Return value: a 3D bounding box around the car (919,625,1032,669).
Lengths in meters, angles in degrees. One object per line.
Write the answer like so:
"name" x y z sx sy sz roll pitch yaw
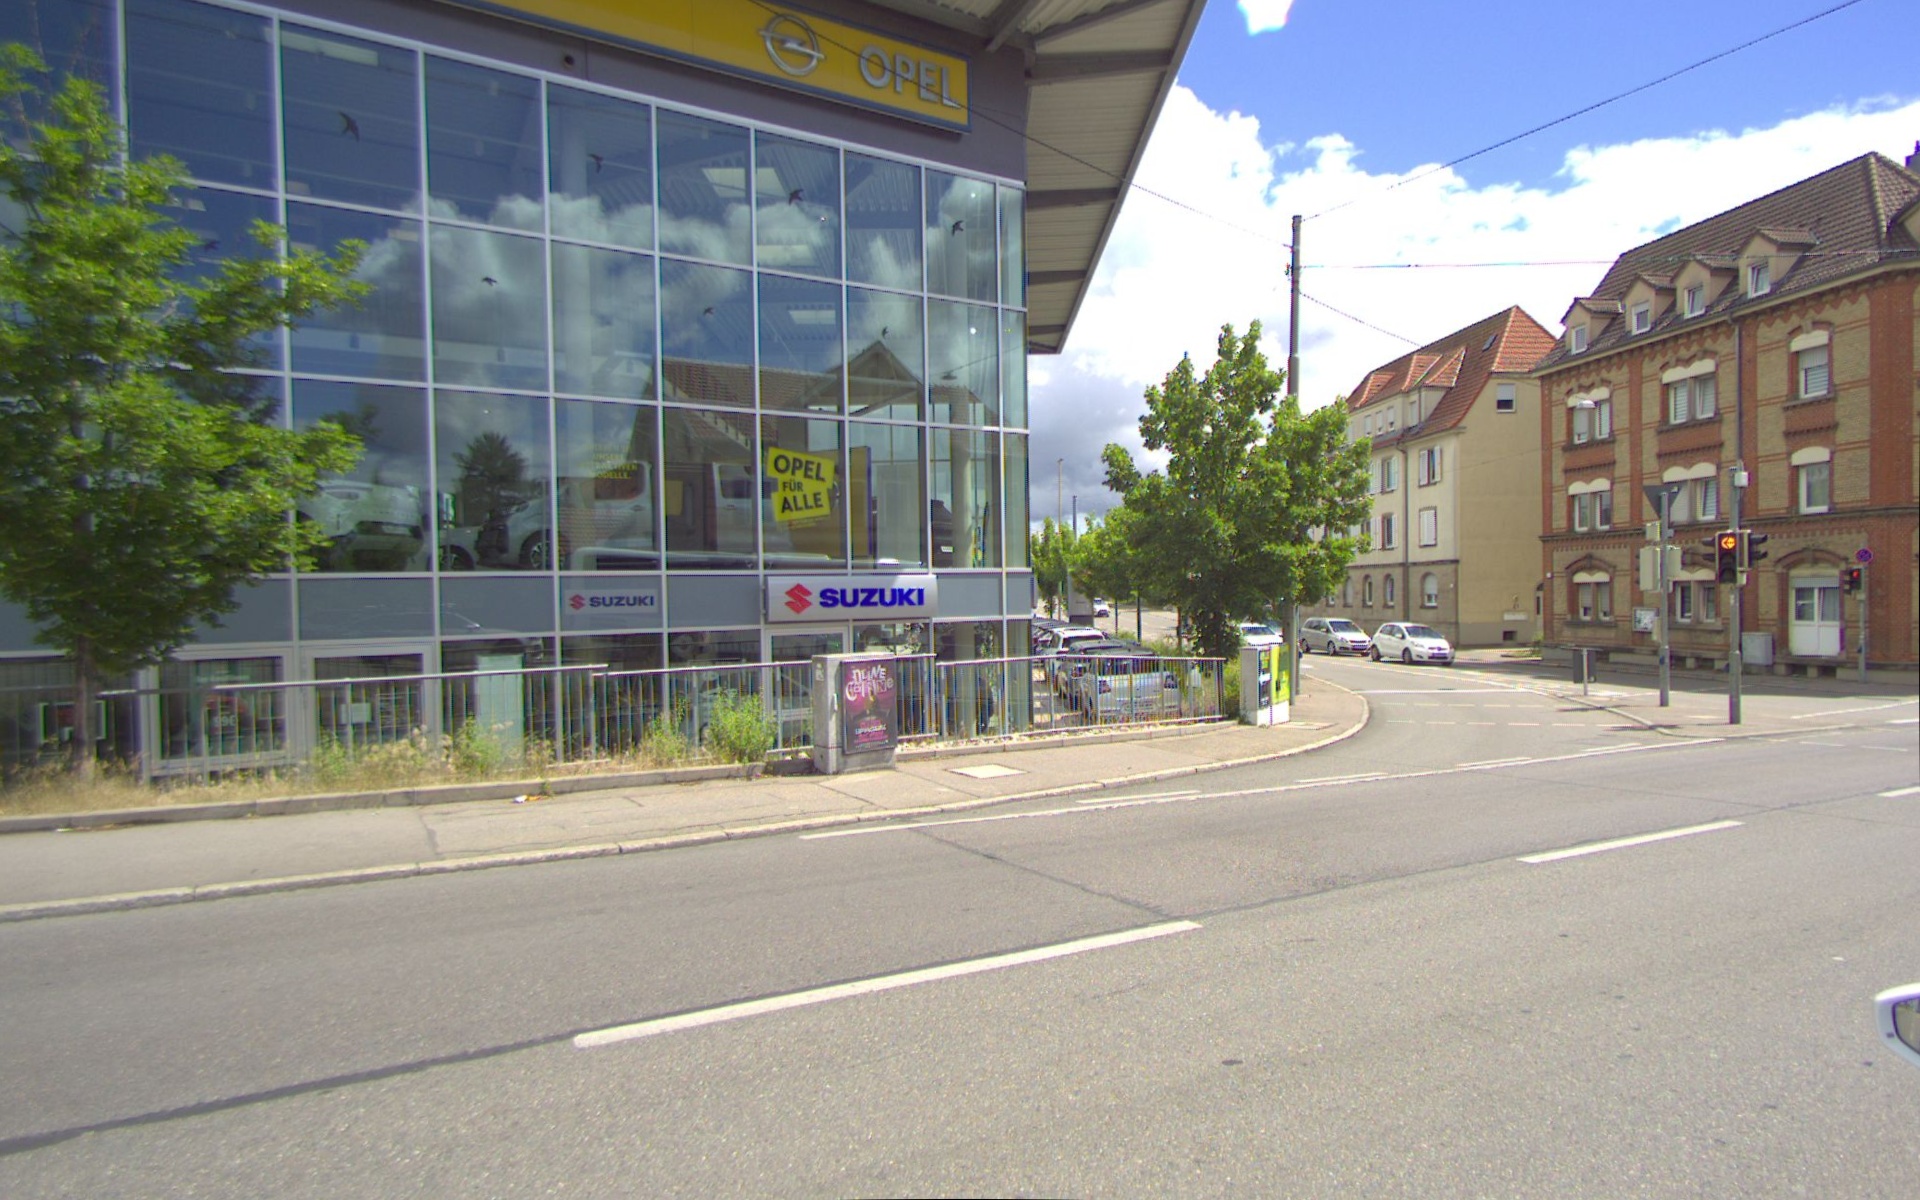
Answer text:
"car" 0.591 1.727 37.227 3.919 1.478 1.605 1 -1 15

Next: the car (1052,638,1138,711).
"car" 3.230 1.759 24.689 1.487 1.543 3.792 1 -1 -2

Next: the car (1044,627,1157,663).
"car" 5.164 1.637 37.199 3.921 1.202 1.818 1 -1 0

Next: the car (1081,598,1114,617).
"car" 11.612 0.630 85.091 1.961 1.607 4.345 1 0 -2

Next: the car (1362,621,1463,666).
"car" 17.061 1.609 38.079 1.670 1.517 3.995 1 -1 -7

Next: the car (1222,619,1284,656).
"car" 12.406 1.561 42.800 1.825 1.466 4.394 0 -1 7

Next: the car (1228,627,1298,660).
"car" 15.329 2.185 51.010 1.963 1.539 3.996 1 -1 -7

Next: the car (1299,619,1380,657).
"car" 16.733 1.643 44.504 1.715 1.539 3.996 1 -1 -7

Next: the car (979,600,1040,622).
"car" 3.231 0.733 66.300 3.921 1.311 1.818 1 -1 0

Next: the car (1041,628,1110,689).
"car" 3.279 1.638 29.083 1.487 1.596 3.414 1 -1 -2

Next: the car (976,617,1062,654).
"car" 2.645 1.589 45.857 1.974 1.599 4.476 1 -1 -26

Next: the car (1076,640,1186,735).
"car" 3.396 1.694 20.540 1.720 1.596 3.687 2 -1 2
